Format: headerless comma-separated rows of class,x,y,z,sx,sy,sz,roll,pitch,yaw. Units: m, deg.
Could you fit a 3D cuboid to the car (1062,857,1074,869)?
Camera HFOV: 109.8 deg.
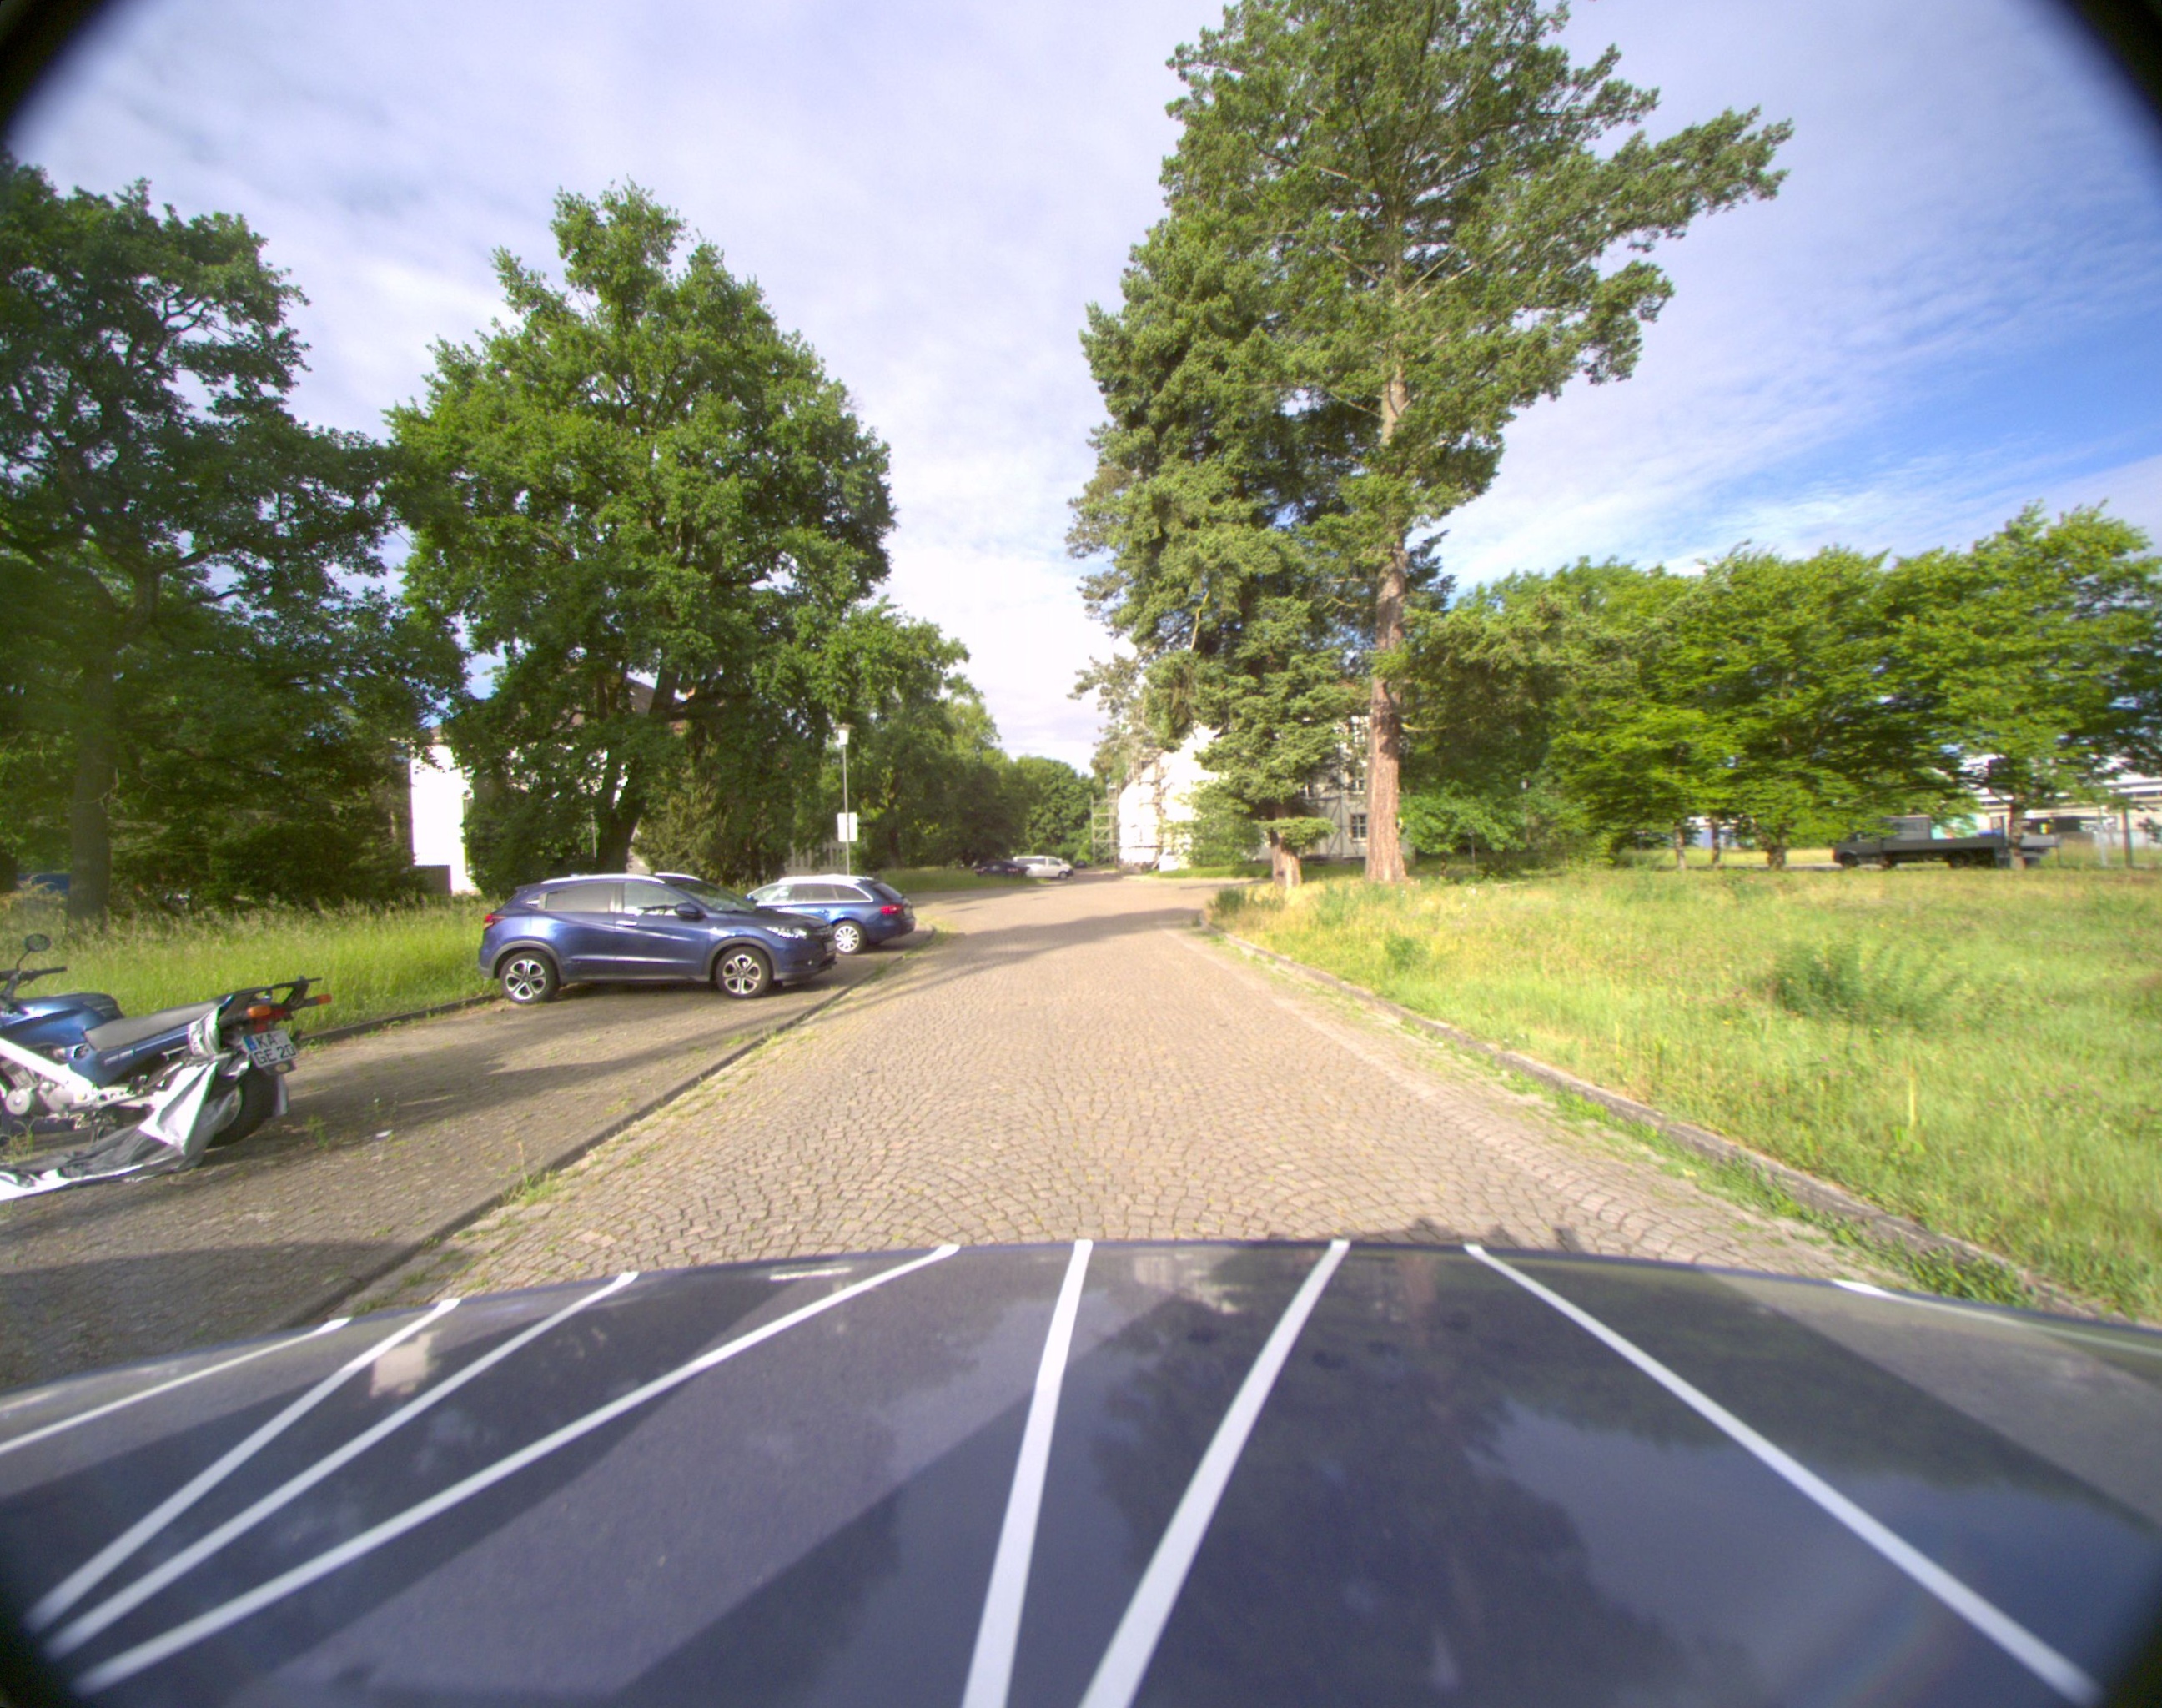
car,-2.213,1.521,129.957,1.875,1.888,3.999,-2,1,-2

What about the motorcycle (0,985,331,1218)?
motorcycle,-5.742,1.372,4.321,2.307,1.107,0.607,-1,1,0

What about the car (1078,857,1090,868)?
car,0.508,1.476,130.263,1.999,1.762,4.108,-2,1,-2

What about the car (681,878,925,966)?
car,-5.264,1.268,14.770,4.036,1.442,1.783,-1,1,0

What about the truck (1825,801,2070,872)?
truck,36.112,-0.652,32.166,2.417,2.571,6.958,-2,0,1

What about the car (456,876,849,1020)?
car,-5.422,1.160,10.065,4.136,1.560,1.746,-1,1,-2

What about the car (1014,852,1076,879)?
car,-3.008,0.949,63.810,5.079,2.029,2.000,-2,0,-2
